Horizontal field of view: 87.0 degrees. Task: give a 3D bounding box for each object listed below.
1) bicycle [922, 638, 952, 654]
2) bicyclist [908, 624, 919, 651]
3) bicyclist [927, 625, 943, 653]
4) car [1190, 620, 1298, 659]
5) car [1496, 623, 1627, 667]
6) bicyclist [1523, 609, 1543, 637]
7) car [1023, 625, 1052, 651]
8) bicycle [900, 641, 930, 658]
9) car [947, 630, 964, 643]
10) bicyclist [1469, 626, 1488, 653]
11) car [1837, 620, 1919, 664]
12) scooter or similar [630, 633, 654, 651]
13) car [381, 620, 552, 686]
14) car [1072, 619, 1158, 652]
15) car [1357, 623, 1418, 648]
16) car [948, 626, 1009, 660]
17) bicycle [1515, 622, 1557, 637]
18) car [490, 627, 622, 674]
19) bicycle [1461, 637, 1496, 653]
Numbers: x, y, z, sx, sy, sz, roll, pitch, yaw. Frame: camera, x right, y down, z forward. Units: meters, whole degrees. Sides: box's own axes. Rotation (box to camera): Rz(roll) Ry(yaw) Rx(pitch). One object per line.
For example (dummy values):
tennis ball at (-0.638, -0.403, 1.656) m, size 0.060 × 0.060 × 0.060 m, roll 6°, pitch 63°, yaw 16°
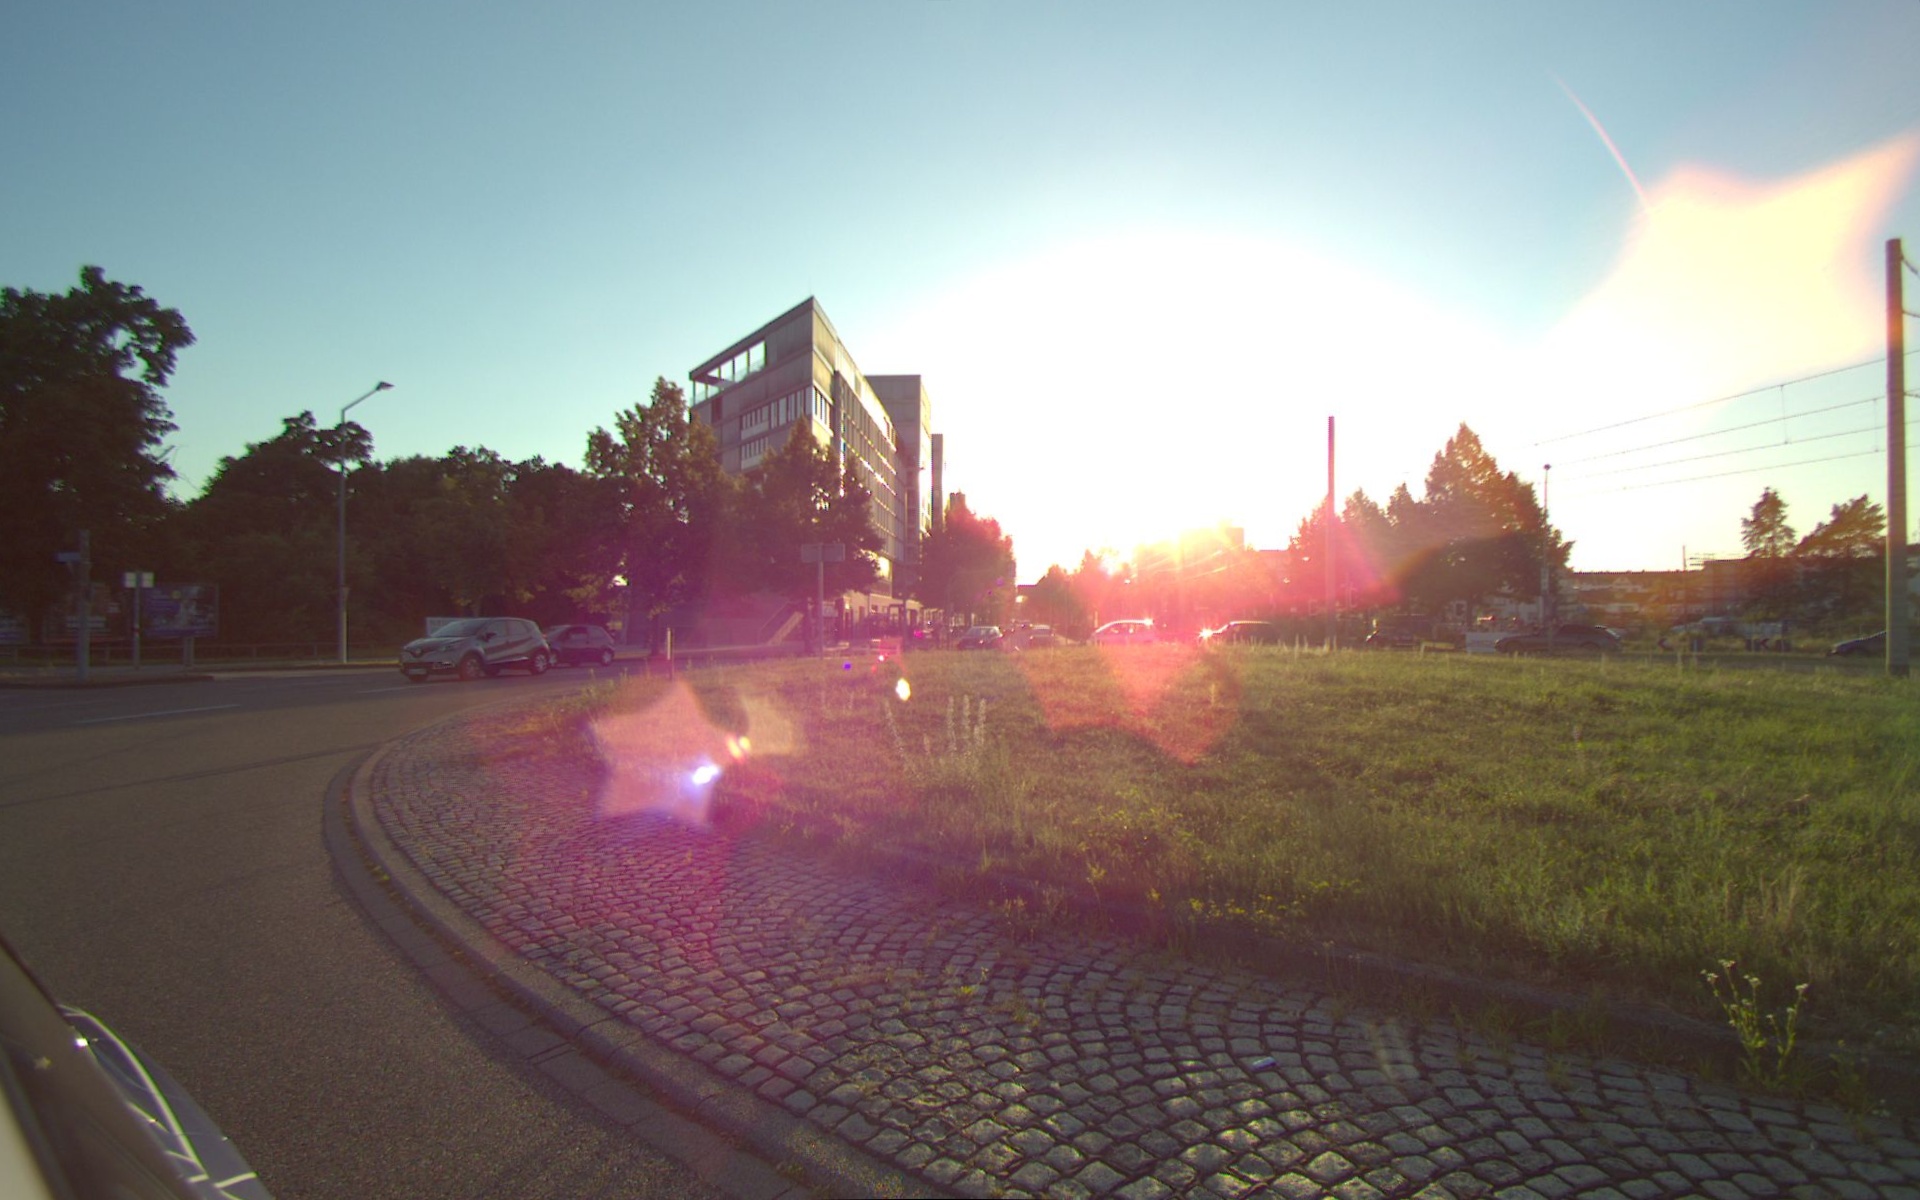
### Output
bicycle at (-1.479, 2.955, 64.944) m, size 1.843 × 1.030 × 0.436 m, roll -1°, pitch -2°, yaw 11°
bicyclist at (-2.916, 2.349, 63.356) m, size 0.674 × 1.660 × 0.685 m, roll 0°, pitch -2°, yaw -6°
bicyclist at (-1.598, 2.488, 64.460) m, size 0.840 × 1.769 × 0.801 m, roll -1°, pitch -2°, yaw 10°
car at (13.375, 1.846, 47.820) m, size 4.528 × 1.761 × 1.753 m, roll 0°, pitch -2°, yaw -4°
car at (25.551, 1.906, 43.076) m, size 4.591 × 1.761 × 1.729 m, roll -2°, pitch -2°, yaw 38°
bicyclist at (34.267, 1.403, 60.514) m, size 0.684 × 1.646 × 0.800 m, roll 1°, pitch -3°, yaw -37°
car at (5.371, 2.561, 69.656) m, size 1.756 × 1.715 × 3.990 m, roll 0°, pitch -1°, yaw 8°
bicycle at (-2.809, 3.110, 63.129) m, size 1.834 × 1.030 × 0.308 m, roll 0°, pitch -2°, yaw -6°
car at (-0.510, 4.169, 115.589) m, size 1.779 × 1.475 × 3.996 m, roll 0°, pitch -2°, yaw 3°
bicyclist at (32.090, 2.461, 62.633) m, size 0.805 × 1.653 × 0.813 m, roll -1°, pitch -2°, yaw 7°
car at (33.154, 1.430, 34.862) m, size 1.723 × 1.478 × 4.144 m, roll 1°, pitch -2°, yaw -36°
scooter or similar at (-21.411, 2.813, 68.200) m, size 1.562 × 1.229 × 0.365 m, roll -1°, pitch -2°, yaw 14°
car at (-12.466, 1.283, 25.865) m, size 1.730 × 1.548 × 3.979 m, roll -1°, pitch -1°, yaw 16°
car at (7.245, 1.653, 47.398) m, size 3.652 × 1.476 × 1.609 m, roll 0°, pitch -2°, yaw -7°
car at (25.761, 2.132, 61.145) m, size 1.726 × 1.457 × 4.137 m, roll 0°, pitch -2°, yaw -3°
car at (0.990, 2.177, 52.087) m, size 1.766 × 1.633 × 3.969 m, roll -1°, pitch -1°, yaw 23°
bicycle at (34.432, 1.762, 60.519) m, size 0.504 × 0.852 × 2.140 m, roll 1°, pitch -3°, yaw -37°
car at (-13.472, 1.650, 33.970) m, size 1.738 × 1.450 × 3.961 m, roll -1°, pitch -1°, yaw 28°
bicycle at (32.104, 2.761, 62.629) m, size 1.821 × 0.988 × 0.549 m, roll -1°, pitch -2°, yaw 7°
